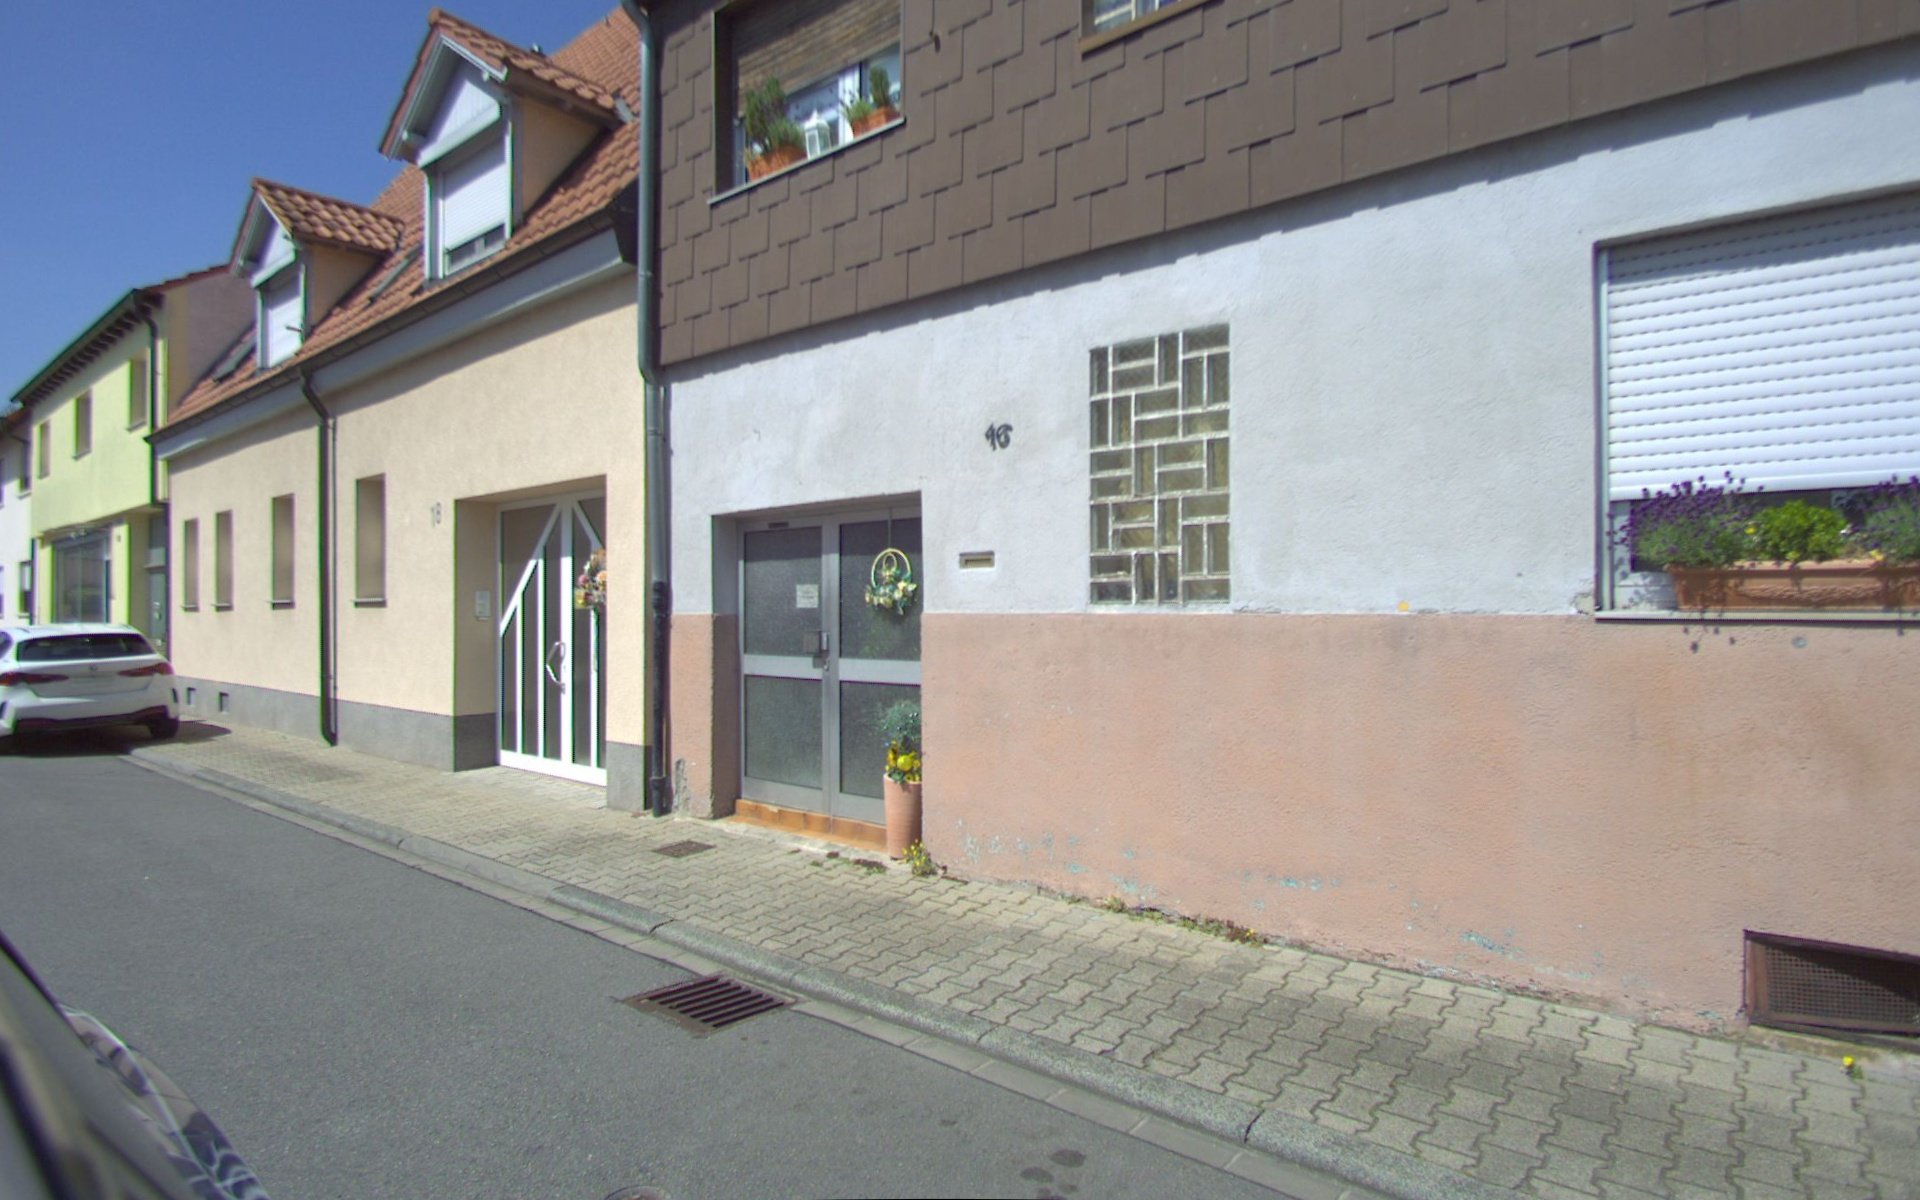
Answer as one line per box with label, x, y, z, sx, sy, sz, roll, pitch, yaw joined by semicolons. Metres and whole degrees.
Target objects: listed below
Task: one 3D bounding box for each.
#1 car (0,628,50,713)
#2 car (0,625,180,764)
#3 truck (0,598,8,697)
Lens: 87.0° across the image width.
car;-18.105;1.193;18.127;4.626;1.405;1.903;-1;-4;39
car;-11.496;1.061;12.798;4.213;1.465;1.764;-1;-2;41
truck;-22.343;0.989;21.771;5.076;2.029;2.160;-1;-2;40
